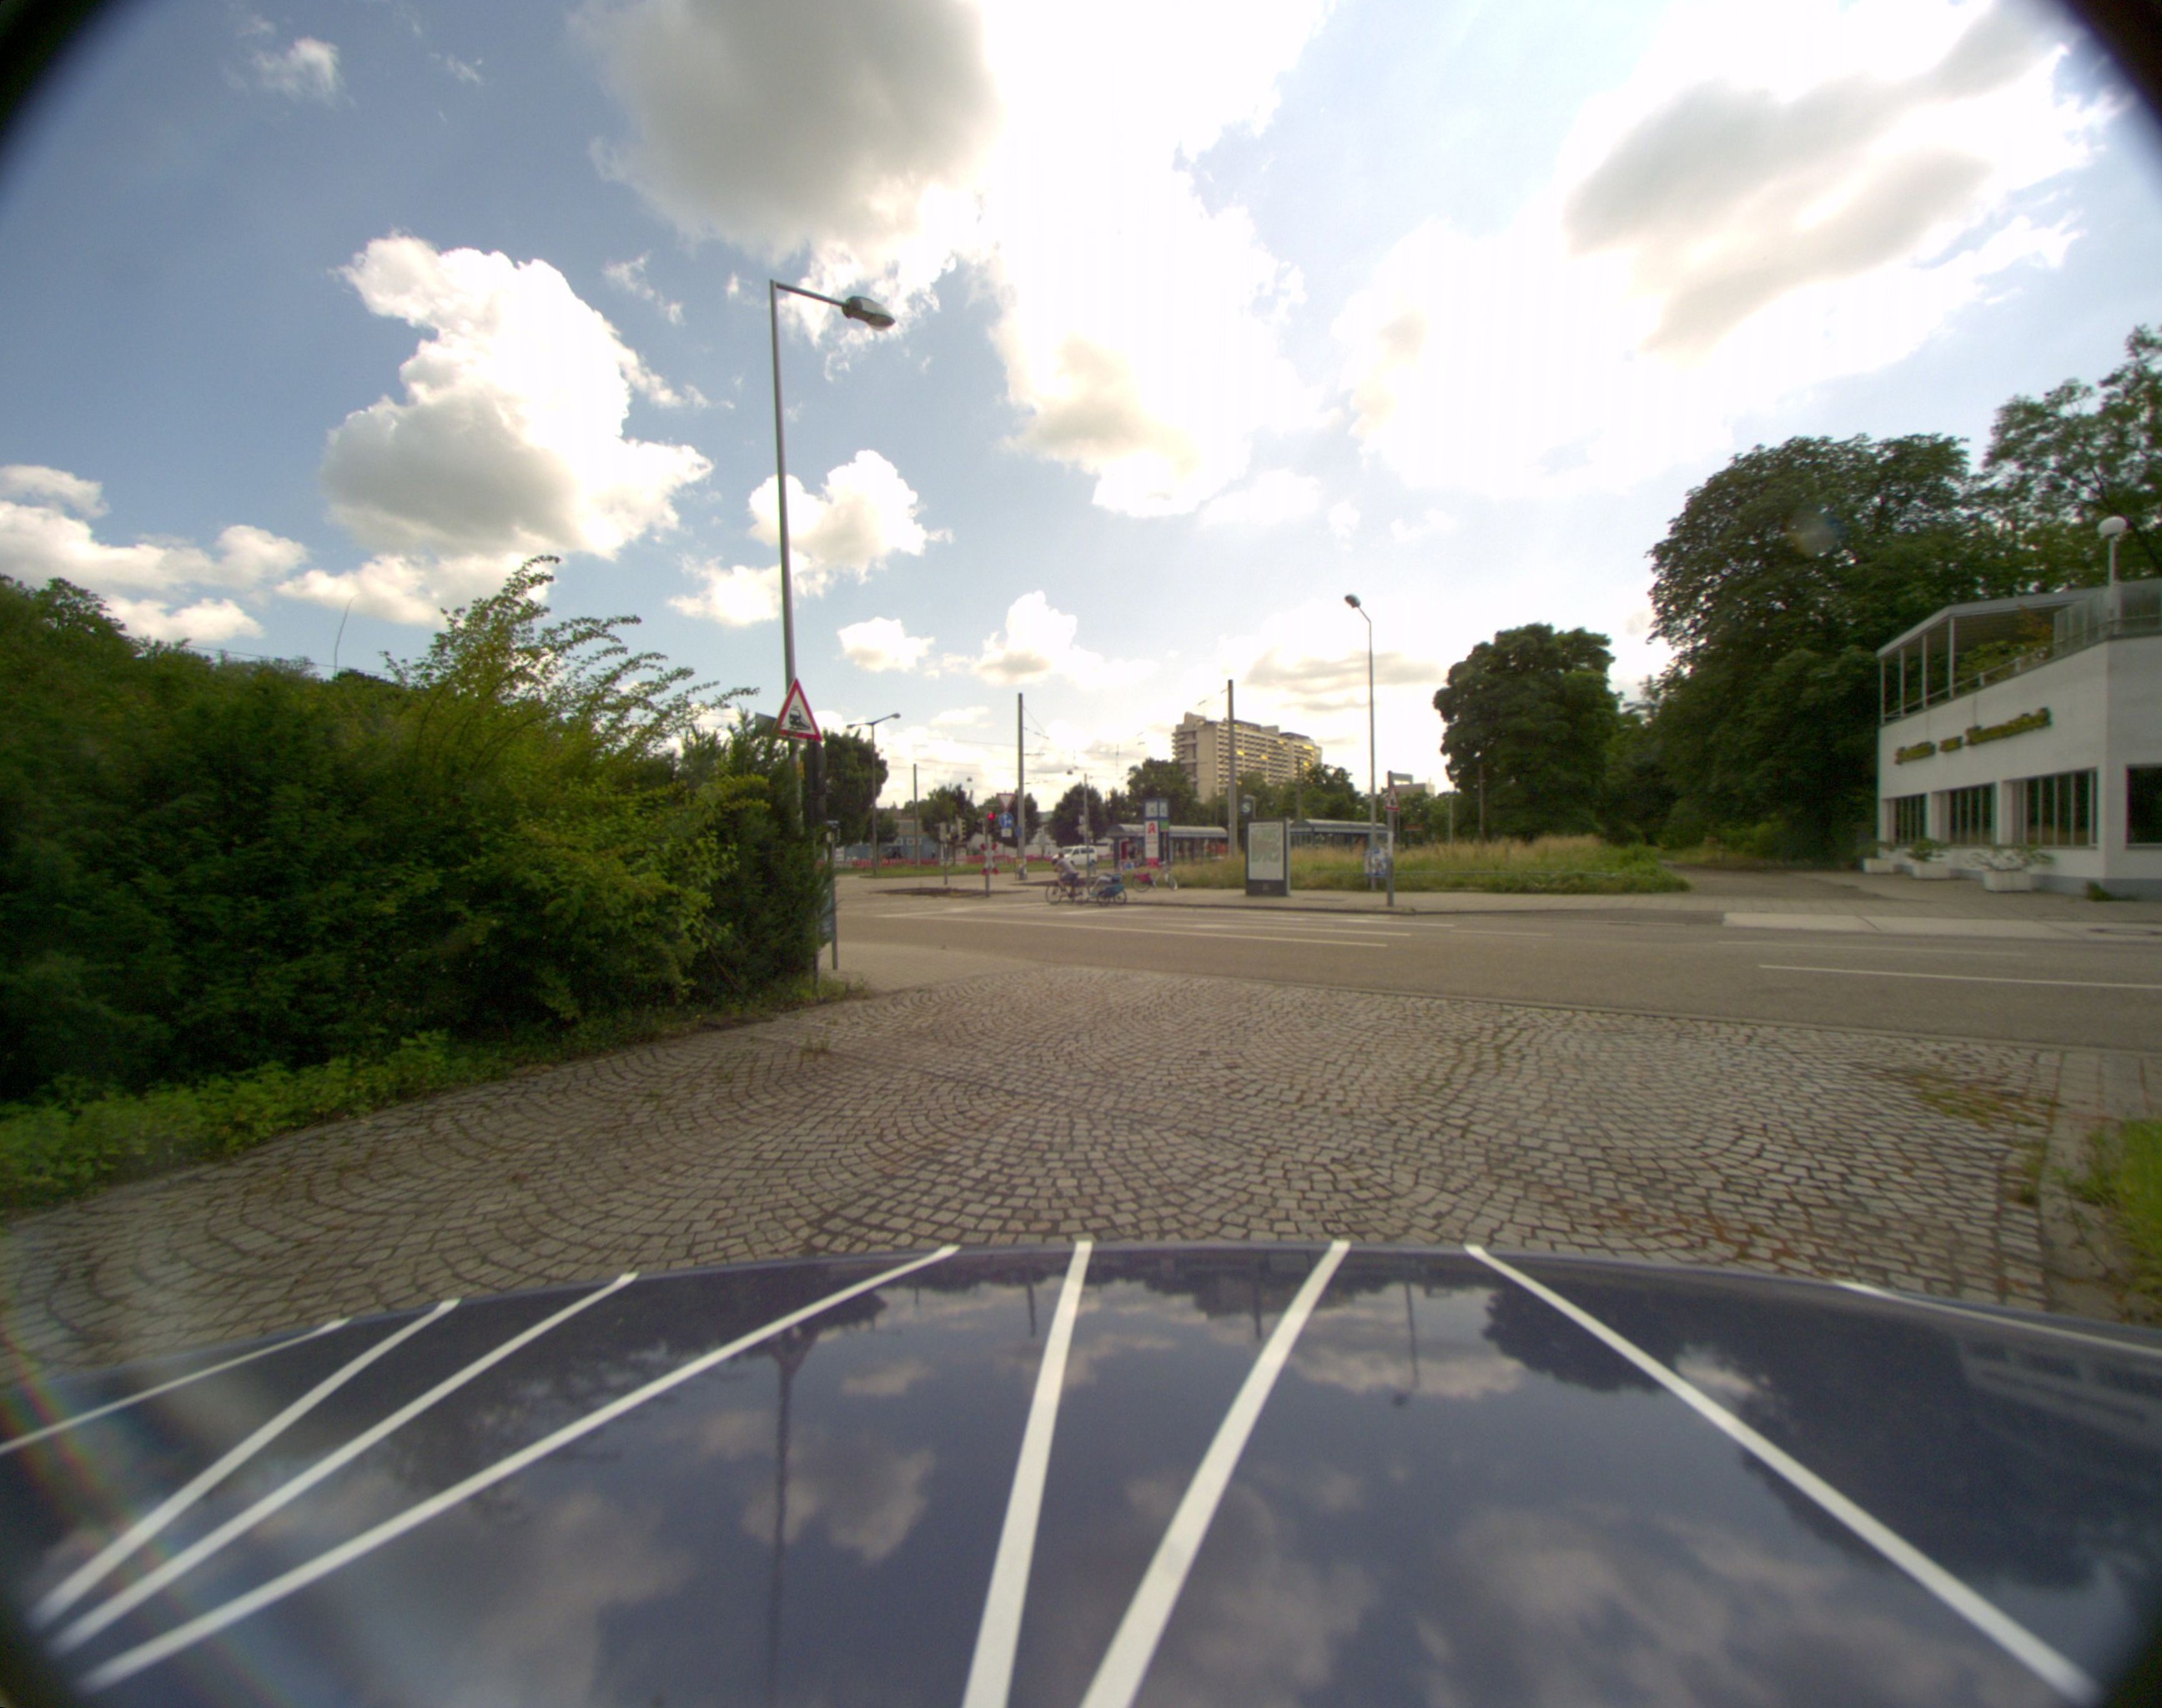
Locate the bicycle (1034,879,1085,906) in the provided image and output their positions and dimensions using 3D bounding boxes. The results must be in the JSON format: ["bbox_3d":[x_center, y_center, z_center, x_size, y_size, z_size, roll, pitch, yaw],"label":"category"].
[{"bbox_3d":[-0.696,1.214,24.147,1.722,0.760,0.556,0,1,43],"label":"bicycle"}]

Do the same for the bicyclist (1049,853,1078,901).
[{"bbox_3d":[-0.553,0.717,24.001,0.839,1.467,0.456,0,1,43],"label":"bicyclist"}]

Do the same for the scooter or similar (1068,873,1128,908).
[{"bbox_3d":[0.500,1.079,23.021,1.575,0.974,0.964,-1,0,43],"label":"scooter or similar"}]

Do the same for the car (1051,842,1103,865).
[{"bbox_3d":[-0.336,-0.099,68.800,1.994,2.002,4.842,0,1,42],"label":"car"}]

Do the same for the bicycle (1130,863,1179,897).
[{"bbox_3d":[2.615,0.922,26.932,1.658,1.126,0.701,-3,1,6],"label":"bicycle"}]
